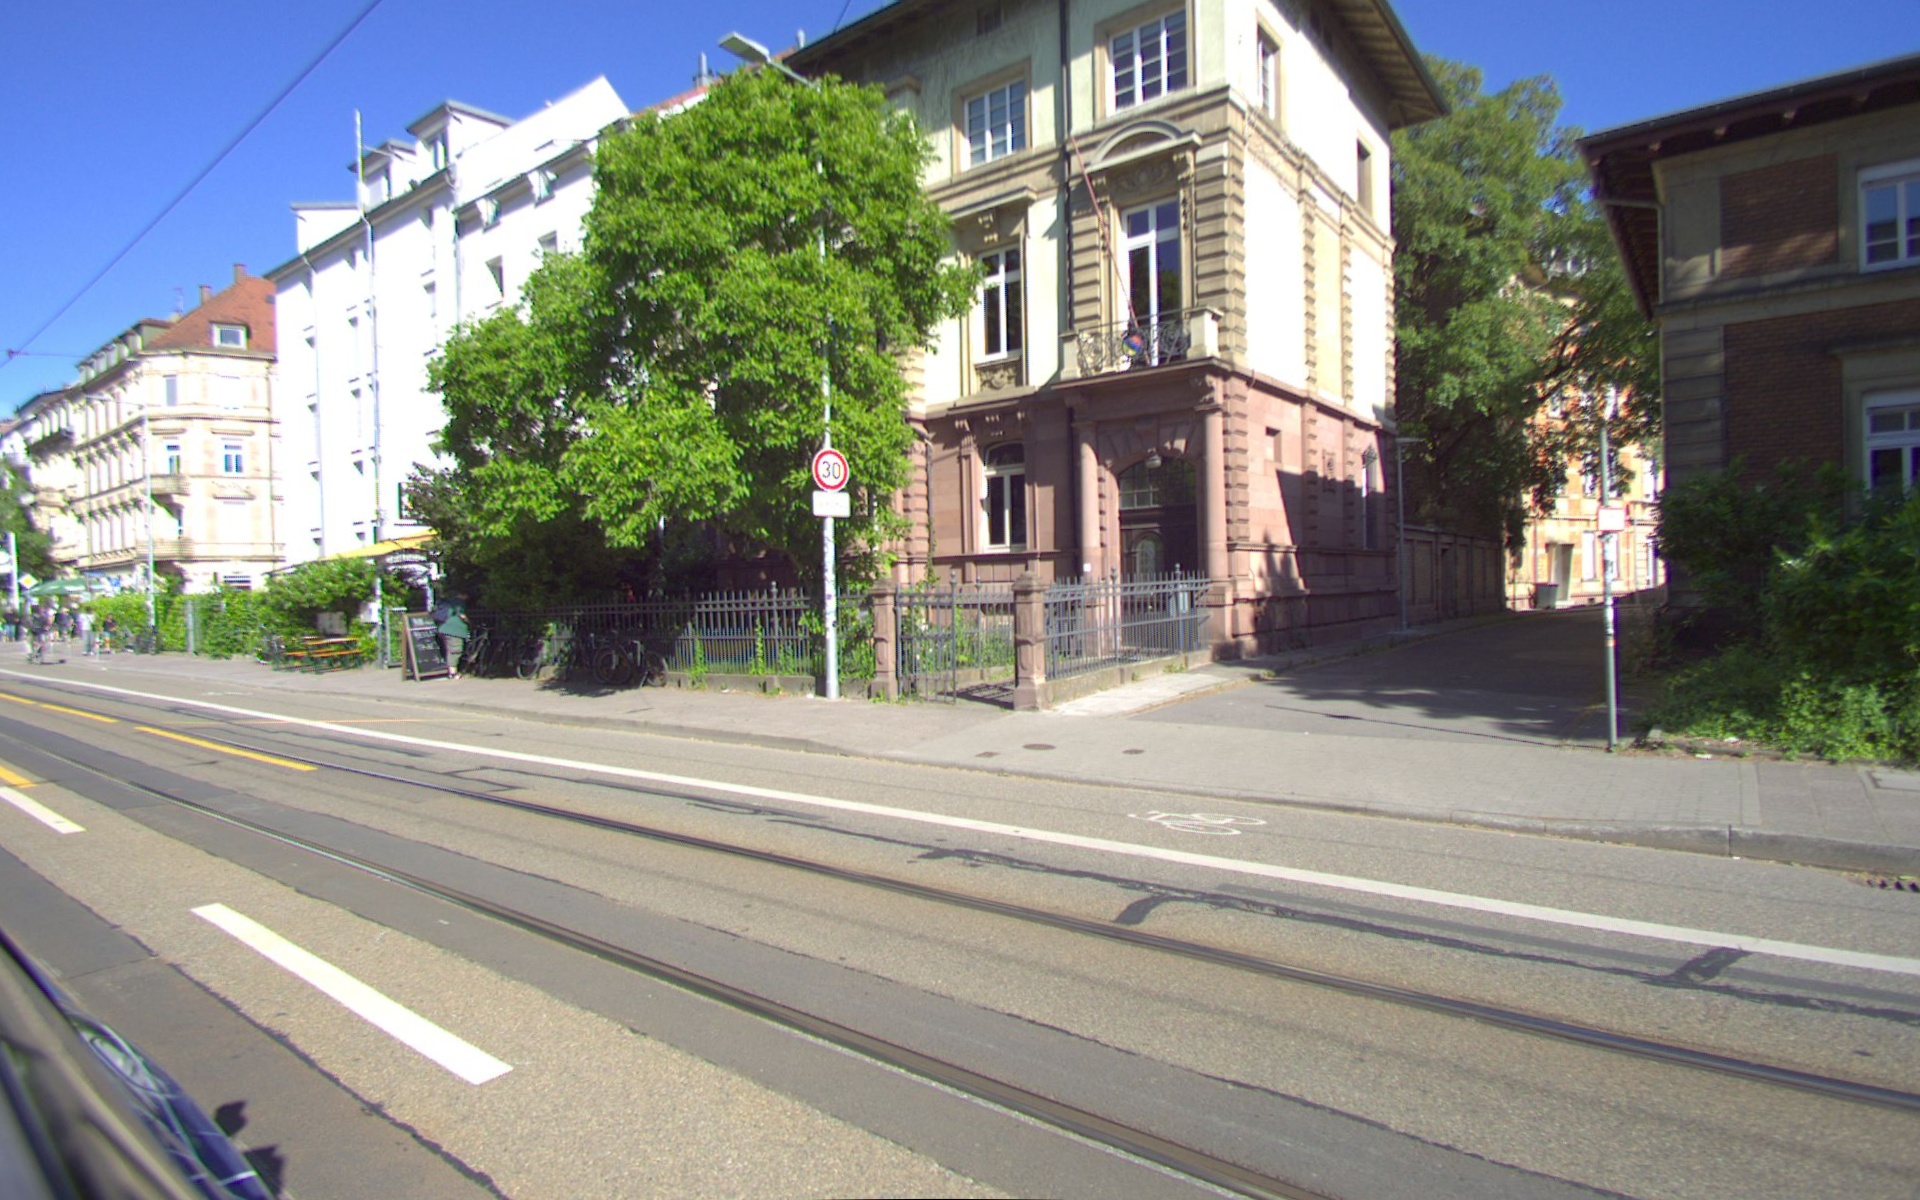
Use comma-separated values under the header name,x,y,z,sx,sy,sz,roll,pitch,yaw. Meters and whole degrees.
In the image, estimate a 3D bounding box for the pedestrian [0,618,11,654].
name,x,y,z,sx,sy,sz,roll,pitch,yaw
pedestrian,-48.715,1.837,51.464,0.537,1.795,0.552,-1,0,35

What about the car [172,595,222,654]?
name,x,y,z,sx,sy,sz,roll,pitch,yaw
car,-39.393,1.199,52.348,1.861,2.862,4.796,-1,1,-35

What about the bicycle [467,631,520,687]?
name,x,y,z,sx,sy,sz,roll,pitch,yaw
bicycle,-9.647,1.194,20.886,0.628,1.053,2.027,-1,0,-35

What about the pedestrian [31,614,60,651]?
name,x,y,z,sx,sy,sz,roll,pitch,yaw
pedestrian,-45.444,1.592,50.310,0.682,1.781,0.868,-1,0,-11

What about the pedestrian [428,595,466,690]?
name,x,y,z,sx,sy,sz,roll,pitch,yaw
pedestrian,-10.275,0.835,20.276,0.568,1.845,0.691,-1,0,-33

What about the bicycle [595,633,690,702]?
name,x,y,z,sx,sy,sz,roll,pitch,yaw
bicycle,-5.319,1.096,16.889,1.904,1.053,0.583,-1,1,42

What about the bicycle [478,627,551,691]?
name,x,y,z,sx,sy,sz,roll,pitch,yaw
bicycle,-8.744,1.132,19.818,0.638,1.152,1.906,-4,2,-44

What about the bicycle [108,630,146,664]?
name,x,y,z,sx,sy,sz,roll,pitch,yaw
bicycle,-29.718,1.661,36.097,1.838,1.097,0.655,-1,3,39

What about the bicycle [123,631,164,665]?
name,x,y,z,sx,sy,sz,roll,pitch,yaw
bicycle,-28.097,1.637,34.827,1.838,1.097,0.655,-1,3,39

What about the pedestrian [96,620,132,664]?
name,x,y,z,sx,sy,sz,roll,pitch,yaw
pedestrian,-30.168,1.486,36.094,0.955,1.489,0.747,-2,1,39

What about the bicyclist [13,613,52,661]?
name,x,y,z,sx,sy,sz,roll,pitch,yaw
bicyclist,-37.340,1.480,40.749,0.695,1.867,0.988,-1,1,-9

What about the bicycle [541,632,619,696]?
name,x,y,z,sx,sy,sz,roll,pitch,yaw
bicycle,-6.886,1.124,18.271,0.583,1.053,1.906,-3,1,-44

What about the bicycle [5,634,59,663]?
name,x,y,z,sx,sy,sz,roll,pitch,yaw
bicycle,-37.339,1.934,40.749,0.695,1.063,1.839,-1,1,-9

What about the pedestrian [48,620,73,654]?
name,x,y,z,sx,sy,sz,roll,pitch,yaw
pedestrian,-45.651,1.852,51.380,0.694,1.667,0.835,-1,1,-20

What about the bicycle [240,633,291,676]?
name,x,y,z,sx,sy,sz,roll,pitch,yaw
bicycle,-18.696,1.456,27.228,1.741,1.067,0.632,-2,2,39

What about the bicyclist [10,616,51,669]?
name,x,y,z,sx,sy,sz,roll,pitch,yaw
bicyclist,-28.918,1.329,31.494,1.116,1.612,0.738,-2,-3,39

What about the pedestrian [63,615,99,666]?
name,x,y,z,sx,sy,sz,roll,pitch,yaw
pedestrian,-30.917,1.412,35.607,0.807,1.726,0.747,-2,1,39

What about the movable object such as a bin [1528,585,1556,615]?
name,x,y,z,sx,sy,sz,roll,pitch,yaw
movable object such as a bin,23.309,-0.008,40.534,0.701,1.166,1.119,-2,0,43

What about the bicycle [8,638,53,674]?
name,x,y,z,sx,sy,sz,roll,pitch,yaw
bicycle,-28.903,1.735,31.462,1.897,1.090,0.738,-1,-3,40
